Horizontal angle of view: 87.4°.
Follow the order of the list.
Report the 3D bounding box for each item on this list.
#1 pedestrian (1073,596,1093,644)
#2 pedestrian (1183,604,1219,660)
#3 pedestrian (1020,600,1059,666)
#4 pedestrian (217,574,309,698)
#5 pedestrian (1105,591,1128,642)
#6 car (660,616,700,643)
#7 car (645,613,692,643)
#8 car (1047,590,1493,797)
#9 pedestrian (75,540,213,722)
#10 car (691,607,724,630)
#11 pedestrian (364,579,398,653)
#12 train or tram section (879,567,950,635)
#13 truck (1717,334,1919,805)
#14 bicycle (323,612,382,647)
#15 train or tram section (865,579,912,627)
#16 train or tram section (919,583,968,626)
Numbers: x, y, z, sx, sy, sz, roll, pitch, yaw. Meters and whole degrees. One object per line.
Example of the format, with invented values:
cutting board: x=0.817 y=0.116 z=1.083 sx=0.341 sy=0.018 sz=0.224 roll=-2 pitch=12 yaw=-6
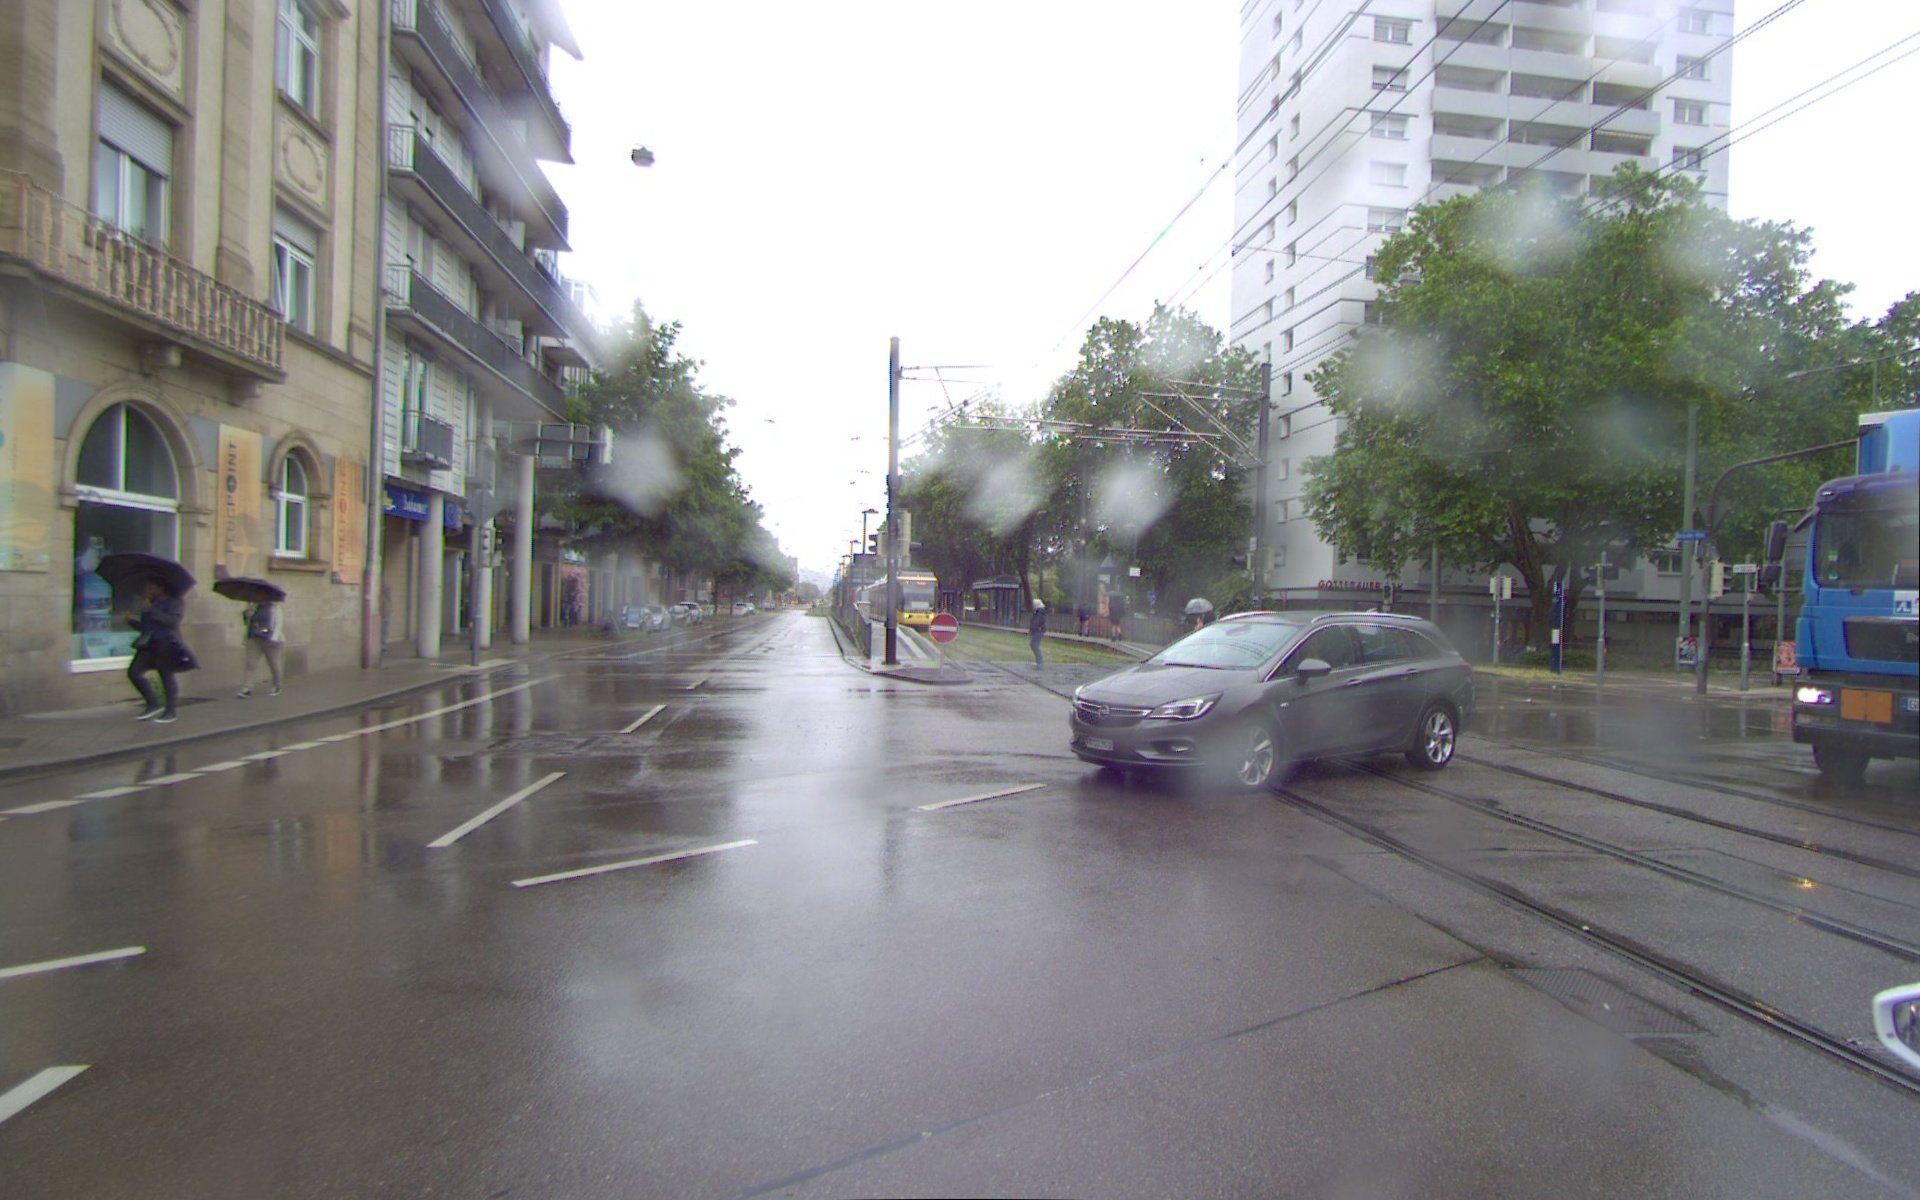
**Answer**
pedestrian: x=5.418 y=0.873 z=44.369 sx=0.626 sy=2.105 sz=0.700 roll=2 pitch=0 yaw=-13
pedestrian: x=7.277 y=0.968 z=30.389 sx=0.780 sy=1.670 sz=0.816 roll=1 pitch=-1 yaw=-9
pedestrian: x=2.068 y=0.854 z=26.172 sx=0.744 sy=1.670 sz=0.835 roll=2 pitch=-1 yaw=-17
pedestrian: x=-9.999 y=0.503 z=14.440 sx=0.728 sy=1.680 sz=0.742 roll=5 pitch=-1 yaw=-13
pedestrian: x=5.834 y=0.613 z=37.484 sx=0.628 sy=1.863 sz=0.678 roll=1 pitch=-1 yaw=-9
car: x=-16.445 y=1.709 z=59.056 sx=1.792 sy=1.439 sz=3.993 roll=2 pitch=0 yaw=-9
car: x=-15.184 y=1.450 z=52.484 sx=1.792 sy=1.439 sz=3.993 roll=2 pitch=0 yaw=-9
car: x=3.052 y=0.791 z=9.540 sx=4.294 sy=1.567 sz=1.716 roll=2 pitch=-2 yaw=-33
pedestrian: x=-9.479 y=0.361 z=11.703 sx=0.906 sy=1.991 sz=0.698 roll=5 pitch=-1 yaw=-15
car: x=-16.968 y=1.222 z=67.732 sx=1.792 sy=1.439 sz=3.993 roll=2 pitch=0 yaw=-9
pedestrian: x=-14.355 y=0.404 z=24.931 sx=0.490 sy=1.804 sz=0.611 roll=2 pitch=0 yaw=-7
train or tram section: x=-2.891 y=0.095 z=59.733 sx=3.016 sy=3.550 sz=11.562 roll=2 pitch=-1 yaw=-8
truck: x=12.528 y=-0.111 z=11.533 sx=10.206 sy=4.078 sz=2.829 roll=2 pitch=-1 yaw=-33
bicycle: x=-16.367 y=0.774 z=27.104 sx=0.570 sy=0.878 sz=1.926 roll=2 pitch=0 yaw=-6
train or tram section: x=-6.045 y=0.278 z=82.795 sx=3.016 sy=3.550 sz=11.562 roll=2 pitch=-1 yaw=-8
train or tram section: x=-1.657 y=0.462 z=91.252 sx=3.016 sy=3.550 sz=11.562 roll=2 pitch=-1 yaw=-8
